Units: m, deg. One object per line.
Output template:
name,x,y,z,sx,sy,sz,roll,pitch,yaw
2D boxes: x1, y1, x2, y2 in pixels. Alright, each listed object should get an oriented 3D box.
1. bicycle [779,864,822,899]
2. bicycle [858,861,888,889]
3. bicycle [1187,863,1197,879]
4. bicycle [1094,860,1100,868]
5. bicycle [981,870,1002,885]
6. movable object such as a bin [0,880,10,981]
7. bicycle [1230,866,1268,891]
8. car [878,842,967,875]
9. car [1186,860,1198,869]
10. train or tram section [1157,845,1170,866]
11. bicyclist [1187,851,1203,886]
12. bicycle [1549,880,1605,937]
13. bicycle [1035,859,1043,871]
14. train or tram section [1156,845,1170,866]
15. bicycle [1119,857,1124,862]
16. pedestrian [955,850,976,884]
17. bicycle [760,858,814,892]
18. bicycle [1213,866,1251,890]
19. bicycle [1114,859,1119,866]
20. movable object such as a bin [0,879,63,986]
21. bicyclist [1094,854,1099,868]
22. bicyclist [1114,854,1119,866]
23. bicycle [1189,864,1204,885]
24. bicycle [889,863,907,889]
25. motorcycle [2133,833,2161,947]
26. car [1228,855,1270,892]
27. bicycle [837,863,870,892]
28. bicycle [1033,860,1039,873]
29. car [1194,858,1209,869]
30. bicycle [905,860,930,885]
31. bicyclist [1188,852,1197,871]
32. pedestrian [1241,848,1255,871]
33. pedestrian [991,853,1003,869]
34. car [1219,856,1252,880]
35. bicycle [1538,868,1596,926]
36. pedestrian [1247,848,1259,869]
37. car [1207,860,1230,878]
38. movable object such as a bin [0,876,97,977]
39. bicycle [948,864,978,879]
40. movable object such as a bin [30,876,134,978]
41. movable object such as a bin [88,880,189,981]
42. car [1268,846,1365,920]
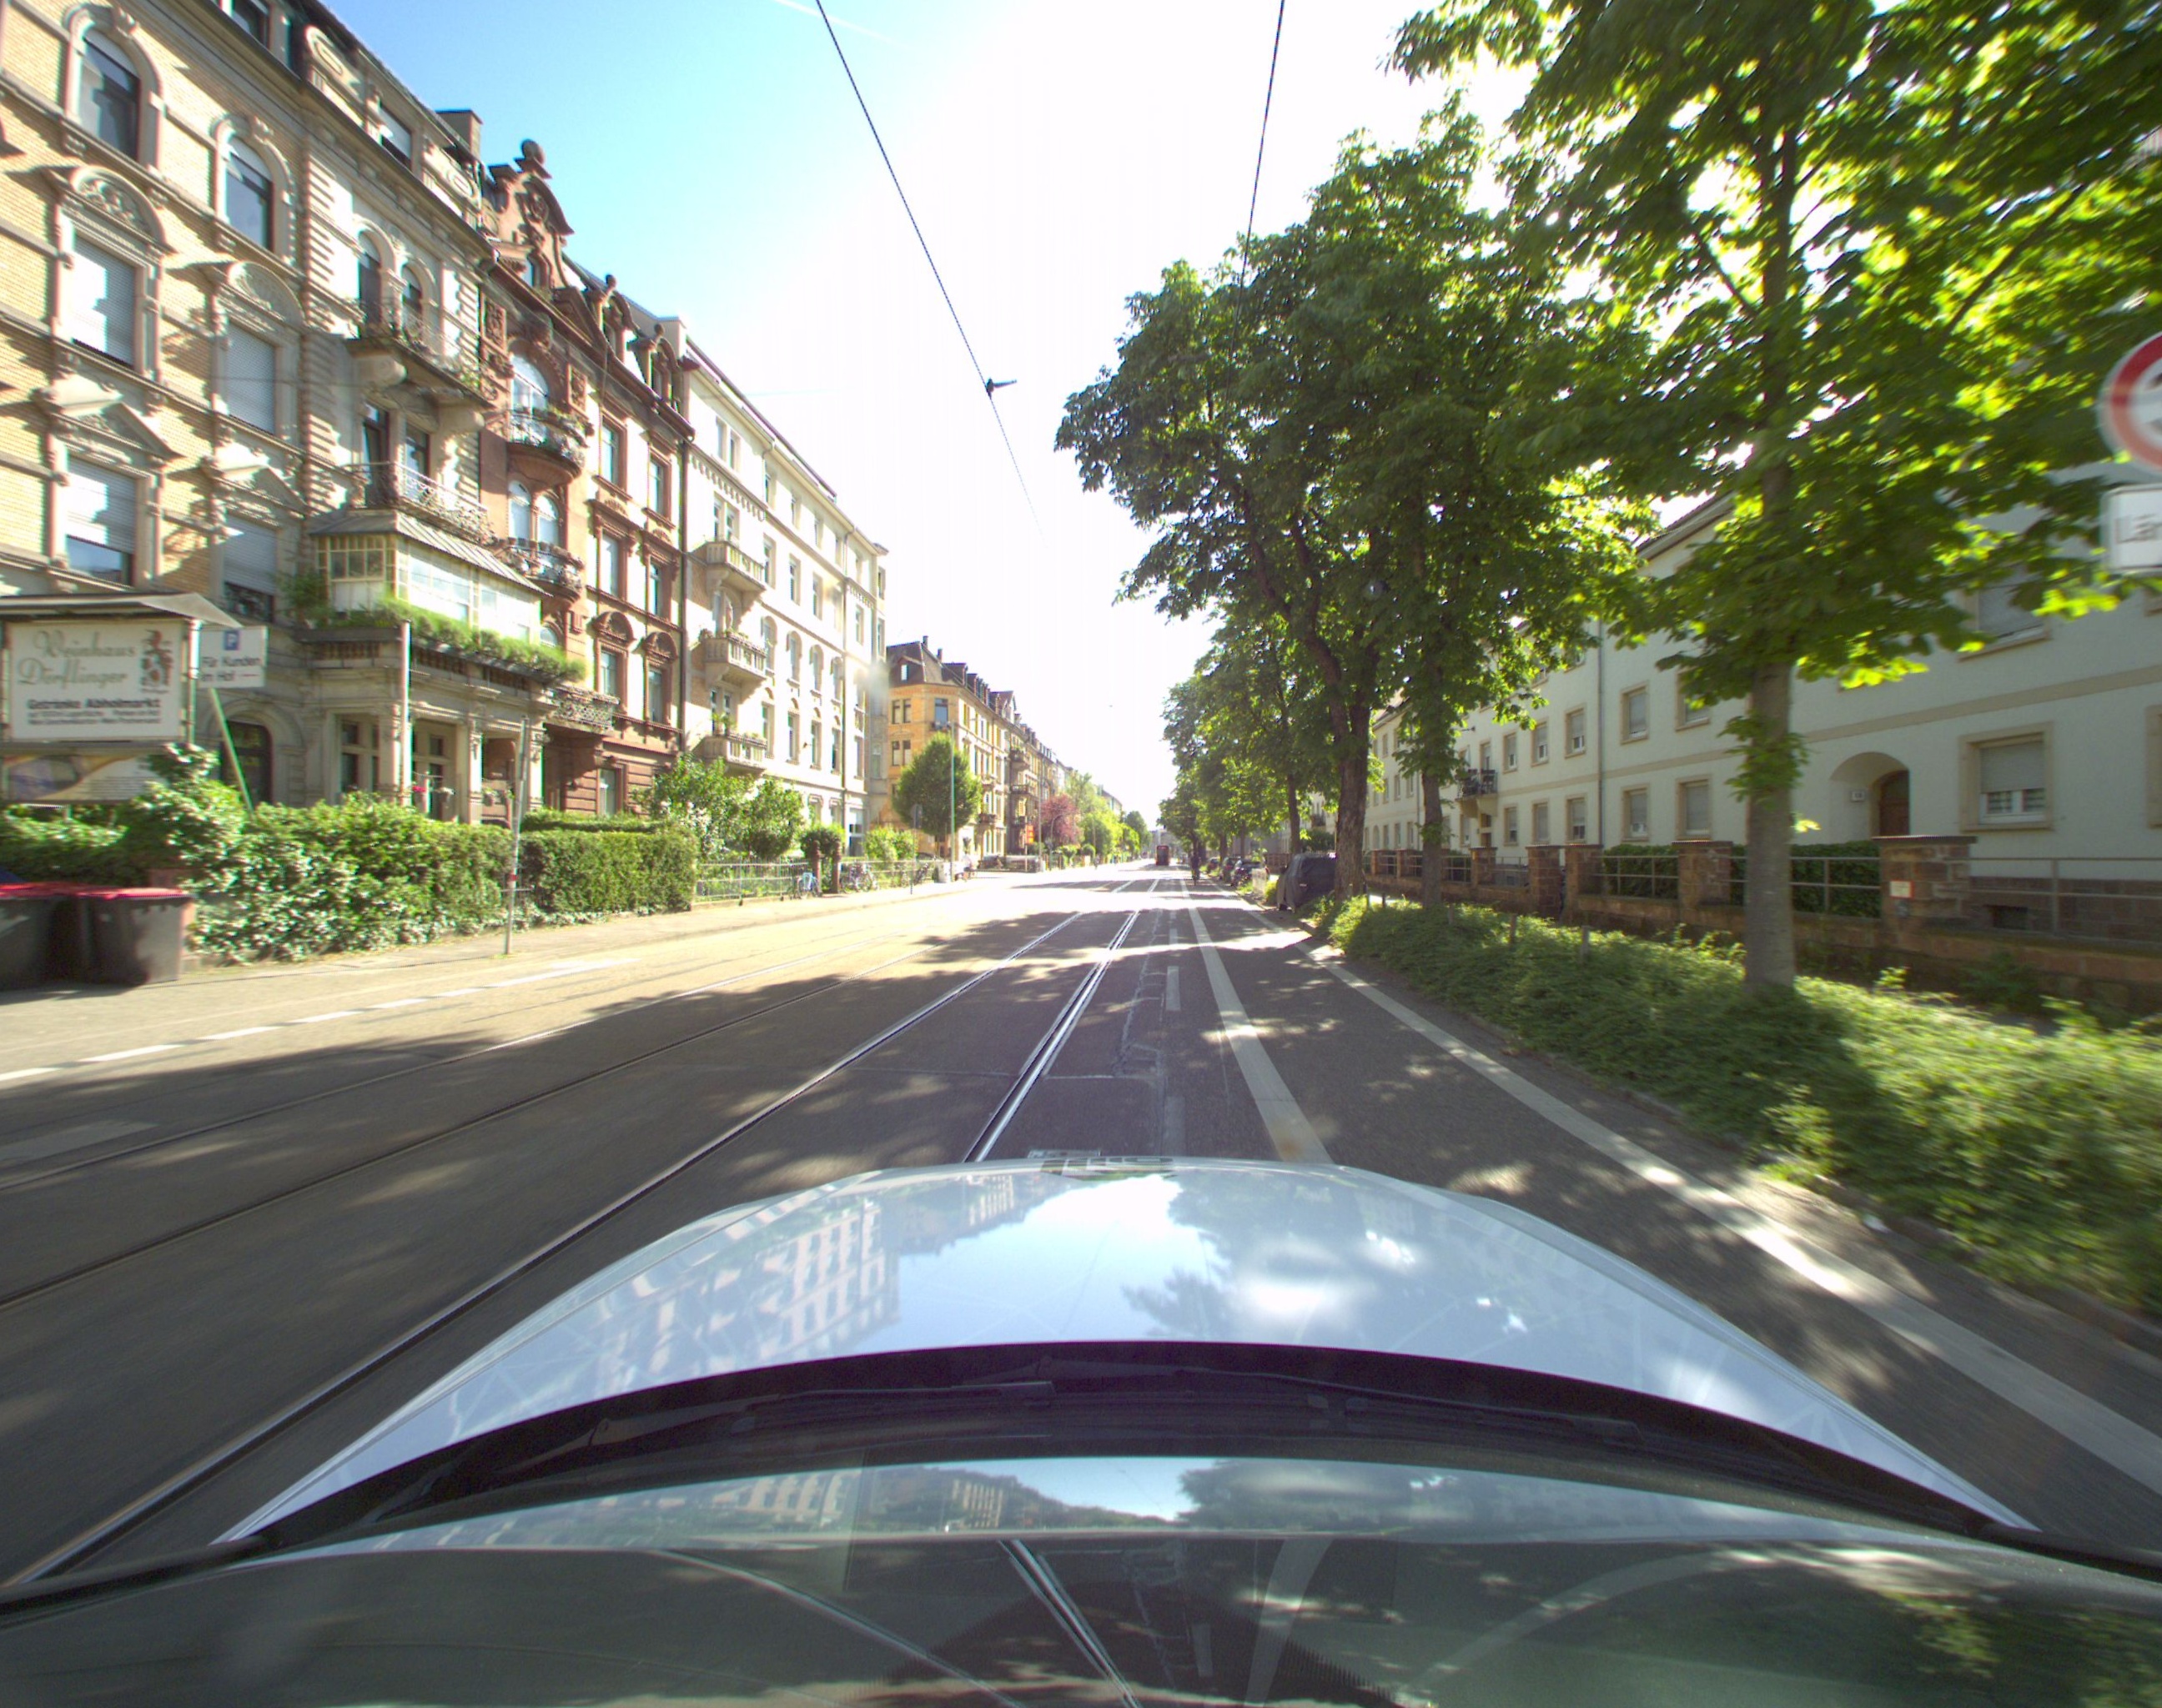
bicycle,-9.077,0.870,26.450,0.560,1.033,1.771,3,1,7
bicycle,-8.250,0.826,32.362,0.560,1.033,1.770,3,0,6
bicycle,8.615,1.306,62.991,0.688,1.112,1.921,2,0,6
bicycle,1.793,1.138,91.101,0.458,0.926,2.206,0,0,7
bicycle,-6.044,1.588,54.994,1.298,0.914,0.615,3,-2,-30
movable object such as a bin,-11.992,0.822,8.649,0.476,1.086,0.542,2,0,8
bicycle,8.028,1.175,38.939,1.752,1.078,0.434,2,0,7
car,-8.867,0.253,45.865,4.420,1.643,1.971,2,-1,8
car,17.287,1.620,127.301,1.740,1.420,4.006,0,0,6
train or tram section,14.615,0.285,144.491,2.143,3.431,6.622,2,0,6
bicyclist,6.109,0.755,43.779,0.724,1.848,0.838,2,0,5
bicycle,11.704,1.254,19.259,0.445,1.238,1.678,0,0,5
bicycle,-3.722,0.972,72.353,0.333,1.001,1.873,2,0,7
train or tram section,13.934,0.240,137.891,2.143,3.431,6.622,2,0,6
bicycle,8.241,1.072,165.711,0.633,1.069,1.825,3,0,-10
pedestrian,-6.131,0.690,43.303,0.826,1.724,1.082,3,-1,1
bicycle,-9.991,0.701,27.683,1.567,1.033,0.480,4,0,5
bicycle,7.323,1.147,39.498,1.752,1.078,0.434,2,0,7
bicycle,5.404,1.253,124.417,0.688,1.112,1.721,0,-1,6
movable object such as a bin,-11.457,0.827,8.688,0.476,1.086,0.542,2,0,8
bicyclist,1.778,0.765,91.016,0.462,1.618,0.746,-1,-1,6
bicyclist,5.429,0.876,124.506,0.657,1.802,0.617,-1,-1,6
bicycle,6.221,1.092,43.944,0.688,1.112,1.721,2,0,6
bicycle,-8.105,0.963,36.018,0.564,1.033,1.757,5,0,-18
motorcycle,14.317,0.477,9.677,0.802,1.487,2.261,2,0,5
car,8.678,0.983,42.358,1.657,1.761,4.237,1,0,5
bicycle,-8.471,0.860,30.391,0.560,1.033,1.770,3,0,6
bicycle,-3.928,1.054,71.368,0.369,1.126,0.810,2,0,6
car,15.986,1.196,108.237,1.621,1.436,4.669,0,0,3
bicycle,-7.550,0.860,37.653,0.566,1.033,1.751,2,1,-30
bicyclist,8.590,0.575,62.677,0.632,1.468,0.617,2,0,6
pedestrian,12.951,0.448,63.209,0.602,1.771,0.906,-1,-1,-24
pedestrian,-7.503,0.631,72.586,0.896,1.352,0.578,-1,-1,7
car,9.893,0.860,52.362,1.712,1.474,4.252,0,0,5
bicycle,11.075,0.944,18.614,0.445,1.238,1.678,0,0,5
pedestrian,14.310,0.350,67.722,0.755,1.724,0.583,2,-1,35
car,12.302,1.320,72.897,1.778,1.464,4.051,1,0,6
movable object such as a bin,-11.884,0.810,9.342,0.476,1.086,0.542,2,0,8
bicycle,-7.462,1.089,51.541,1.793,0.914,0.615,3,-2,-30
movable object such as a bin,-11.376,0.815,9.285,0.476,1.086,0.542,2,0,8
movable object such as a bin,-10.779,0.854,9.331,0.476,1.086,0.542,2,0,8
car,6.392,0.737,22.559,1.735,1.766,4.485,2,0,6
